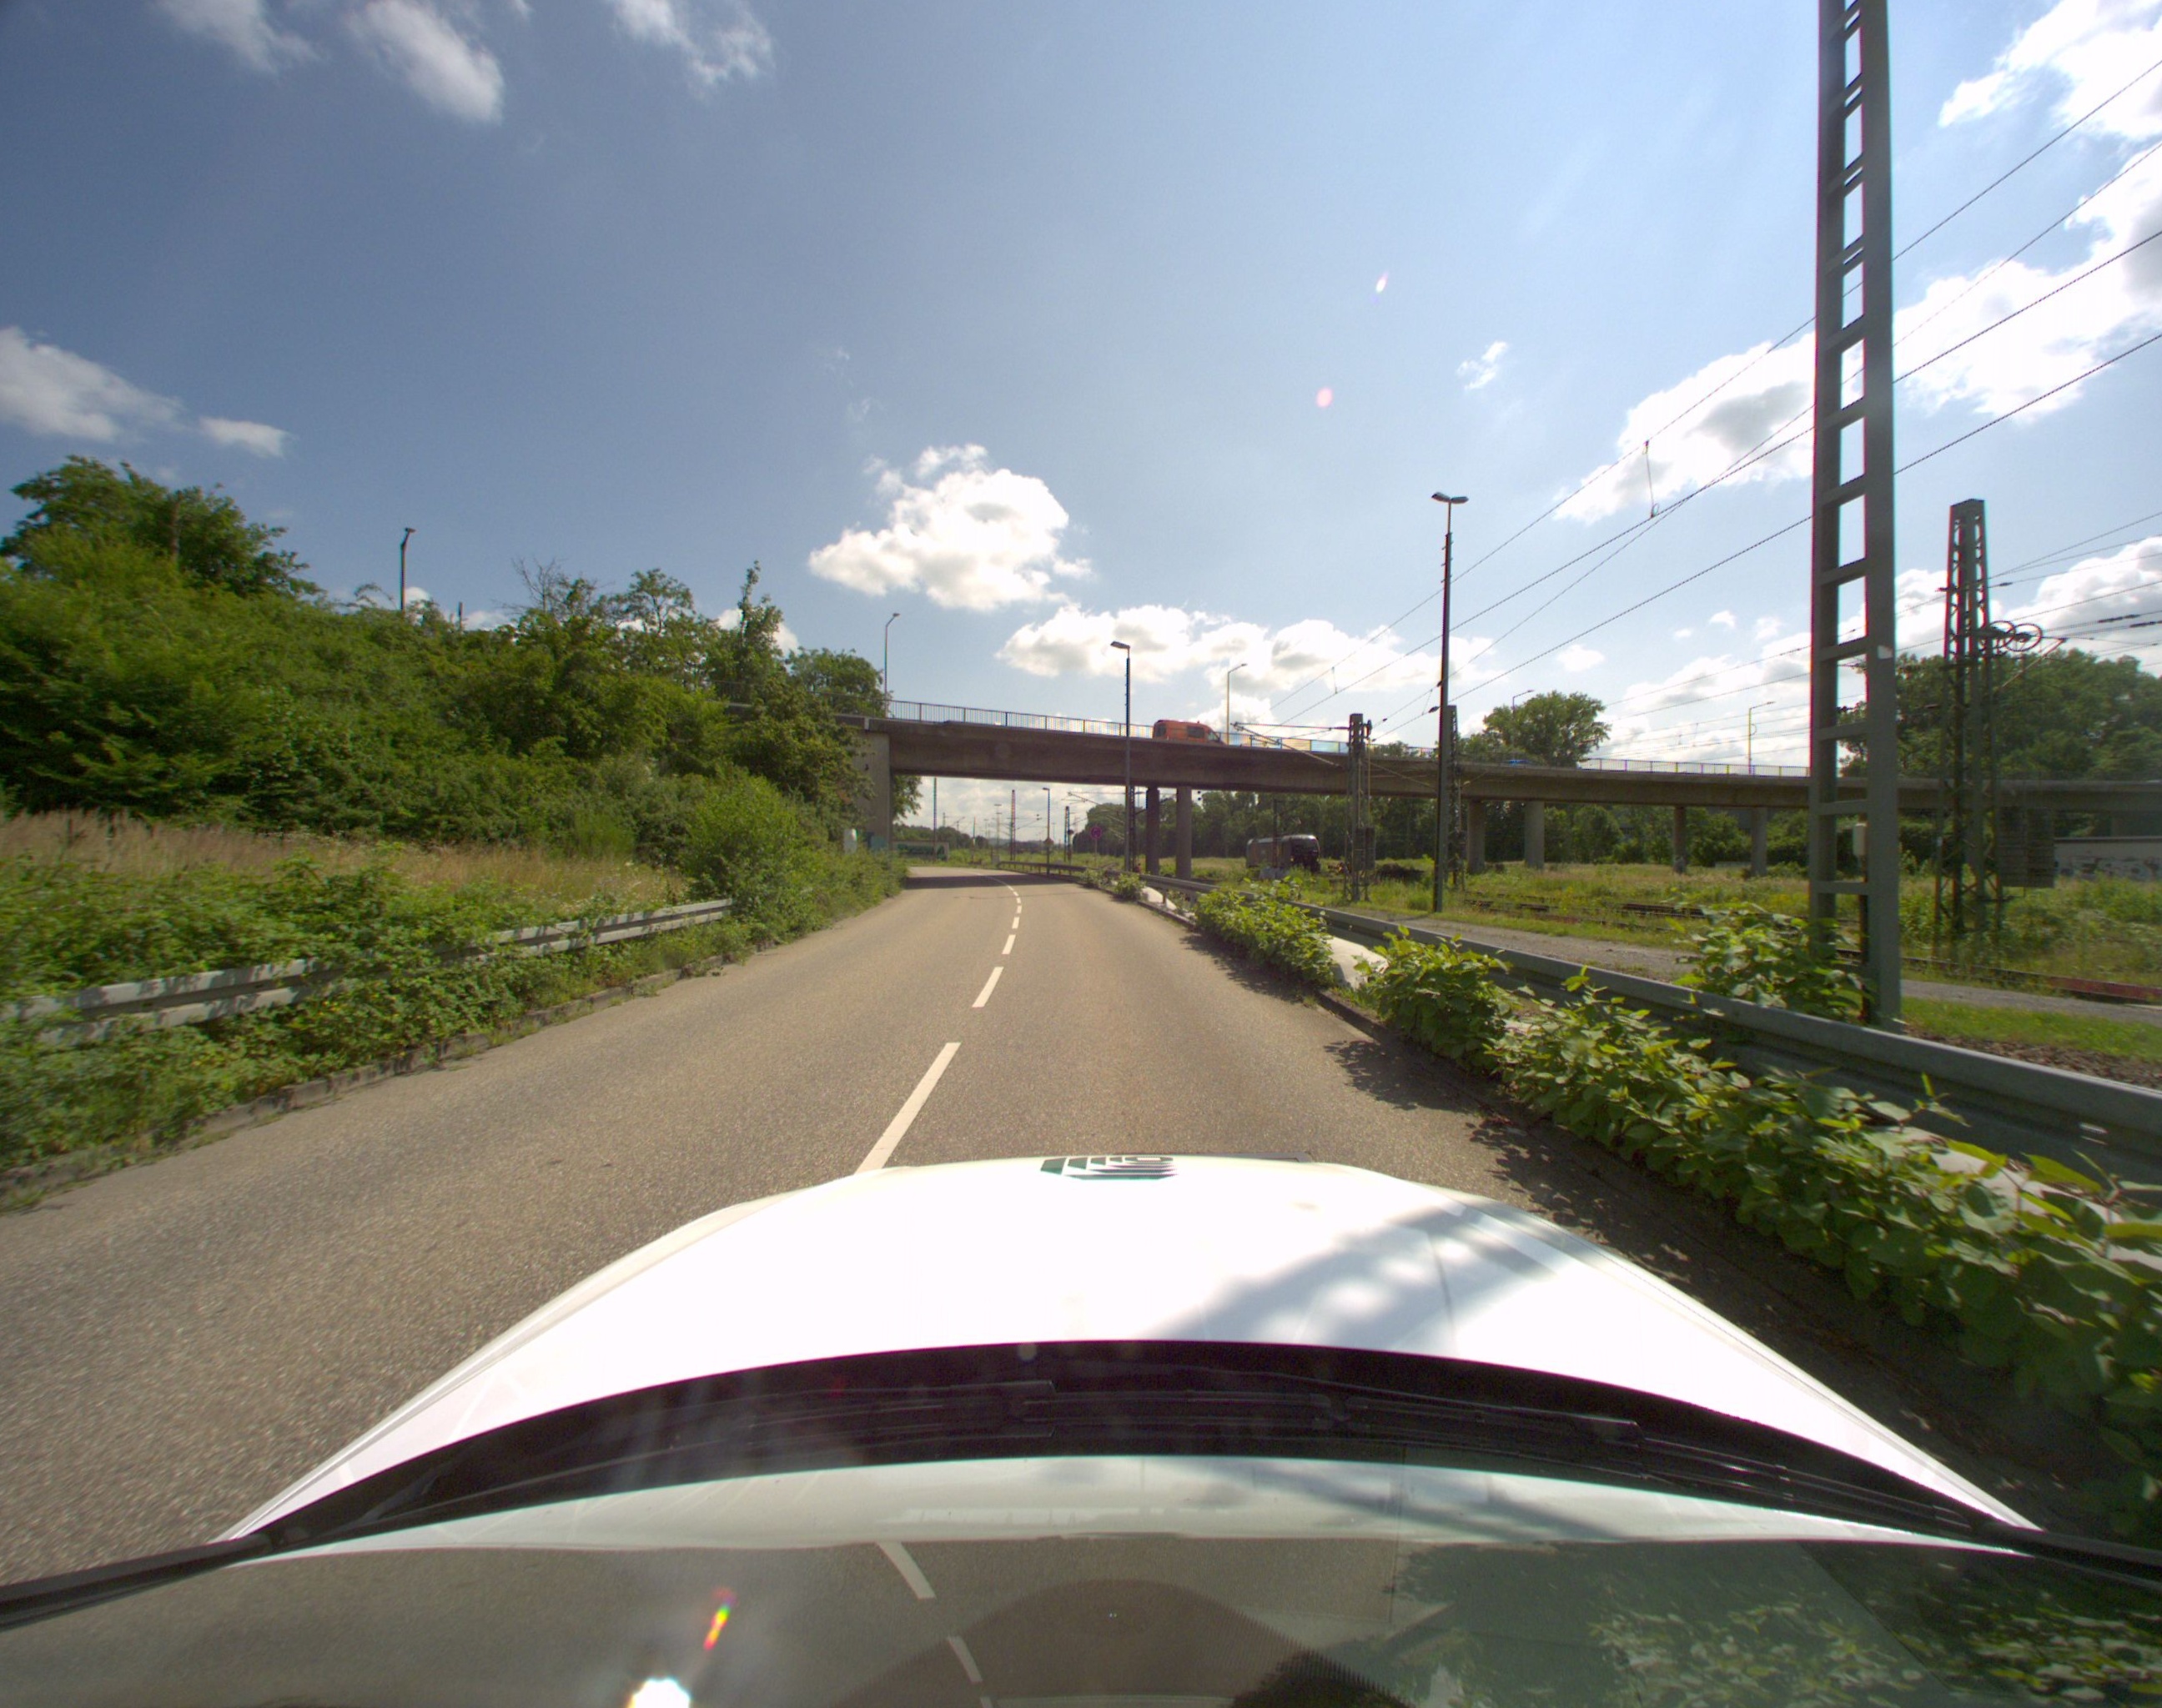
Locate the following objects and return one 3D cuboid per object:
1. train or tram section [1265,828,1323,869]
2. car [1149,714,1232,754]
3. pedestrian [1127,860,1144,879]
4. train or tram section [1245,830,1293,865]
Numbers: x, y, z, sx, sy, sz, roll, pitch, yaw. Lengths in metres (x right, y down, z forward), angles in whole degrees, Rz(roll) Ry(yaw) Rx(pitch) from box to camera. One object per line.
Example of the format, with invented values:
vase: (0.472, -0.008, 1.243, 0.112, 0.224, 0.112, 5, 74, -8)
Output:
train or tram section: (19.483, -0.420, 75.204, 2.883, 3.509, 8.558, 0, -1, -2)
car: (7.350, -7.975, 54.482, 5.354, 2.014, 1.980, -1, -2, -31)
pedestrian: (4.304, 1.217, 64.731, 1.108, 1.540, 1.576, 0, -1, -5)
train or tram section: (19.184, -0.582, 83.607, 2.748, 3.477, 8.232, 0, -1, -2)
